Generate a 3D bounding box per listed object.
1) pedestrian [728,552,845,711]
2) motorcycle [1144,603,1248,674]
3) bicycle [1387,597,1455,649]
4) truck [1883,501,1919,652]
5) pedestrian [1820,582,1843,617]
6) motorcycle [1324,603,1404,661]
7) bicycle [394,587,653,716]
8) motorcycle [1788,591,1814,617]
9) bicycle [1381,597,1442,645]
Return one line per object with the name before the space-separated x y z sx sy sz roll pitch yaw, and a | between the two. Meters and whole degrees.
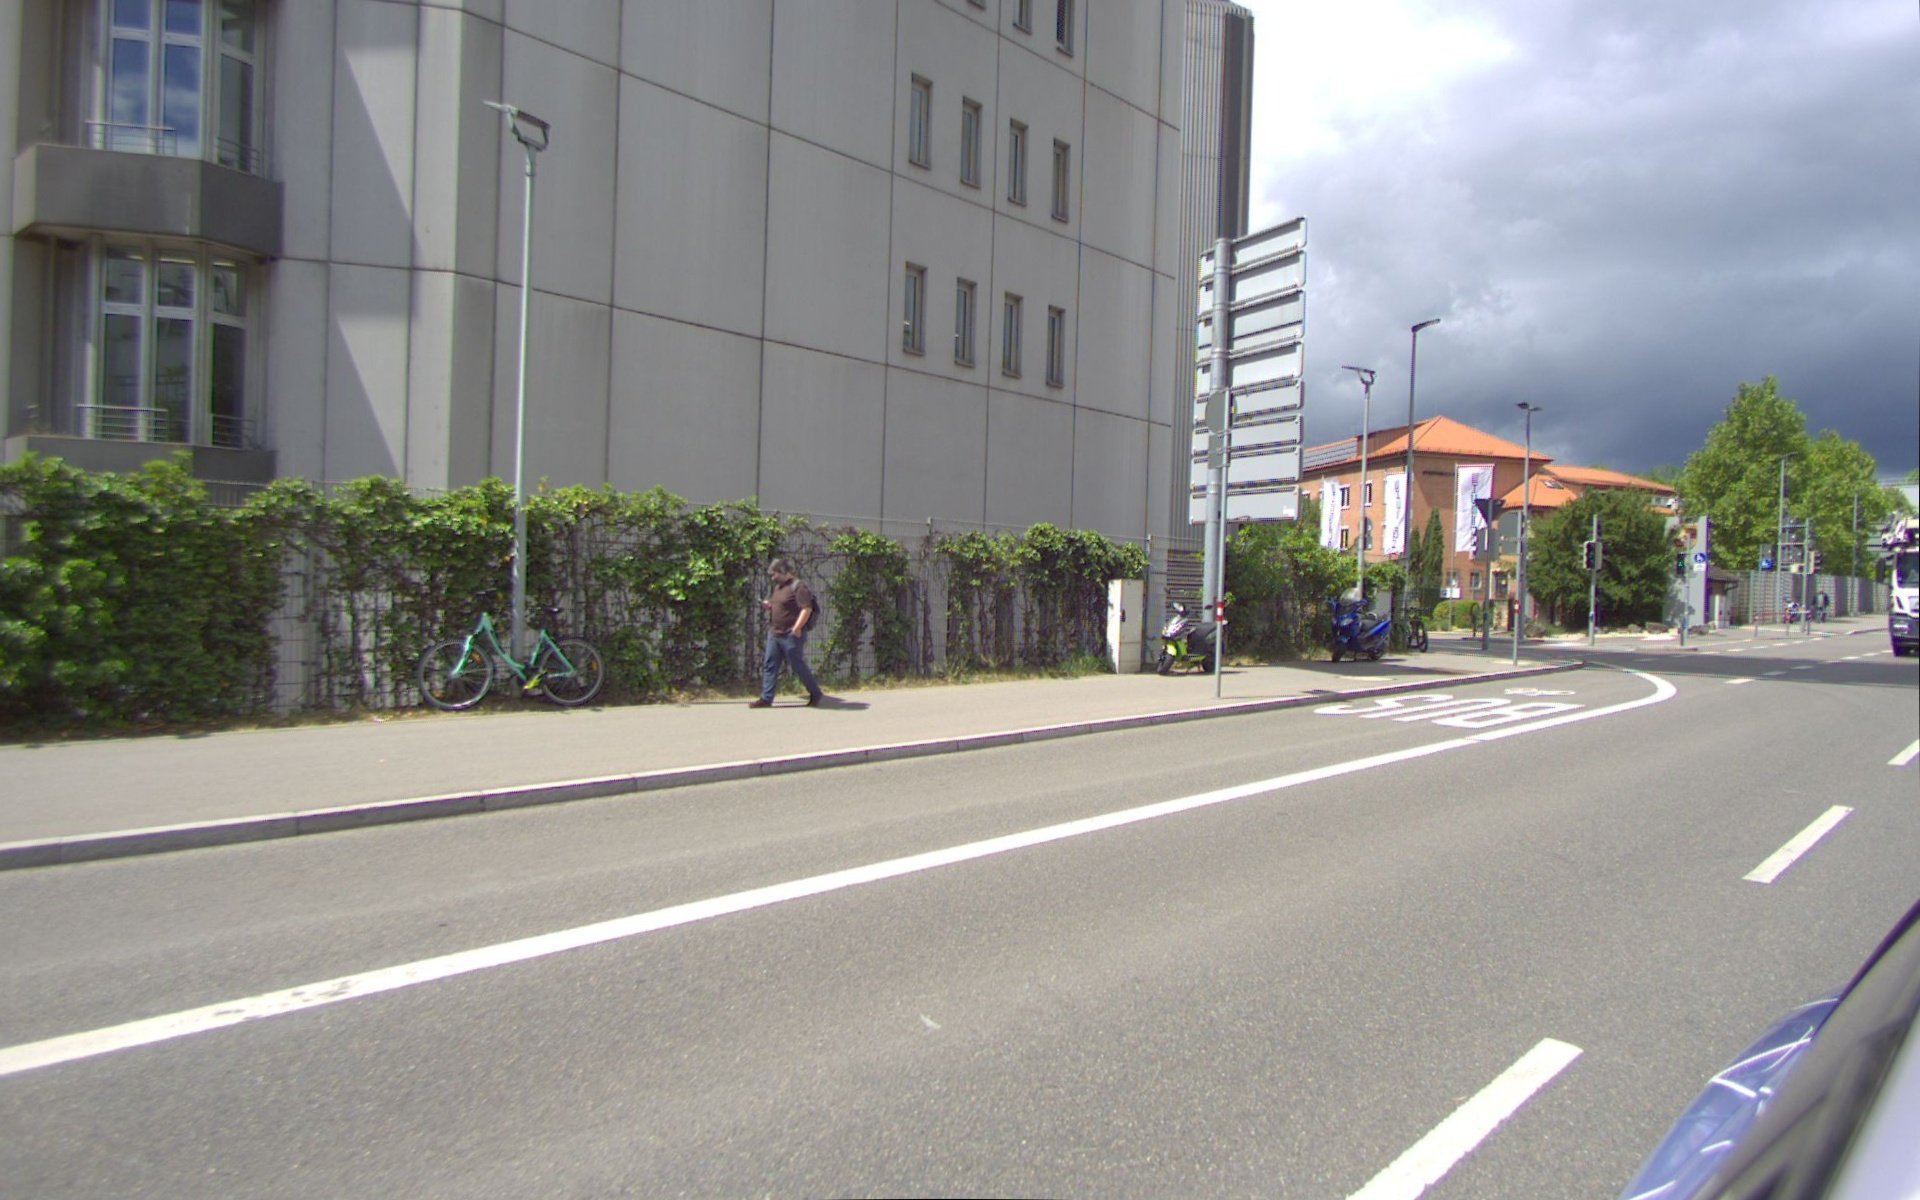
pedestrian | -1.930 0.312 11.282 0.980 1.665 0.811 0 2 -42
motorcycle | 3.948 0.615 16.838 2.001 1.080 0.592 0 2 -41
bicycle | 11.081 0.520 24.403 0.535 1.142 1.973 2 1 -6
truck | 29.481 -0.666 29.238 10.549 3.934 2.712 -1 0 -40
pedestrian | 44.424 -0.031 51.594 0.998 1.788 0.728 0 0 -41
motorcycle | 8.227 0.627 20.569 2.001 1.080 0.592 0 3 -41
bicycle | -4.402 0.471 10.396 2.425 1.195 0.444 -1 0 -41
motorcycle | 40.970 0.188 49.276 2.137 1.241 0.570 -1 2 -40
bicycle | 11.663 0.516 26.201 0.535 1.142 1.889 2 1 -6
